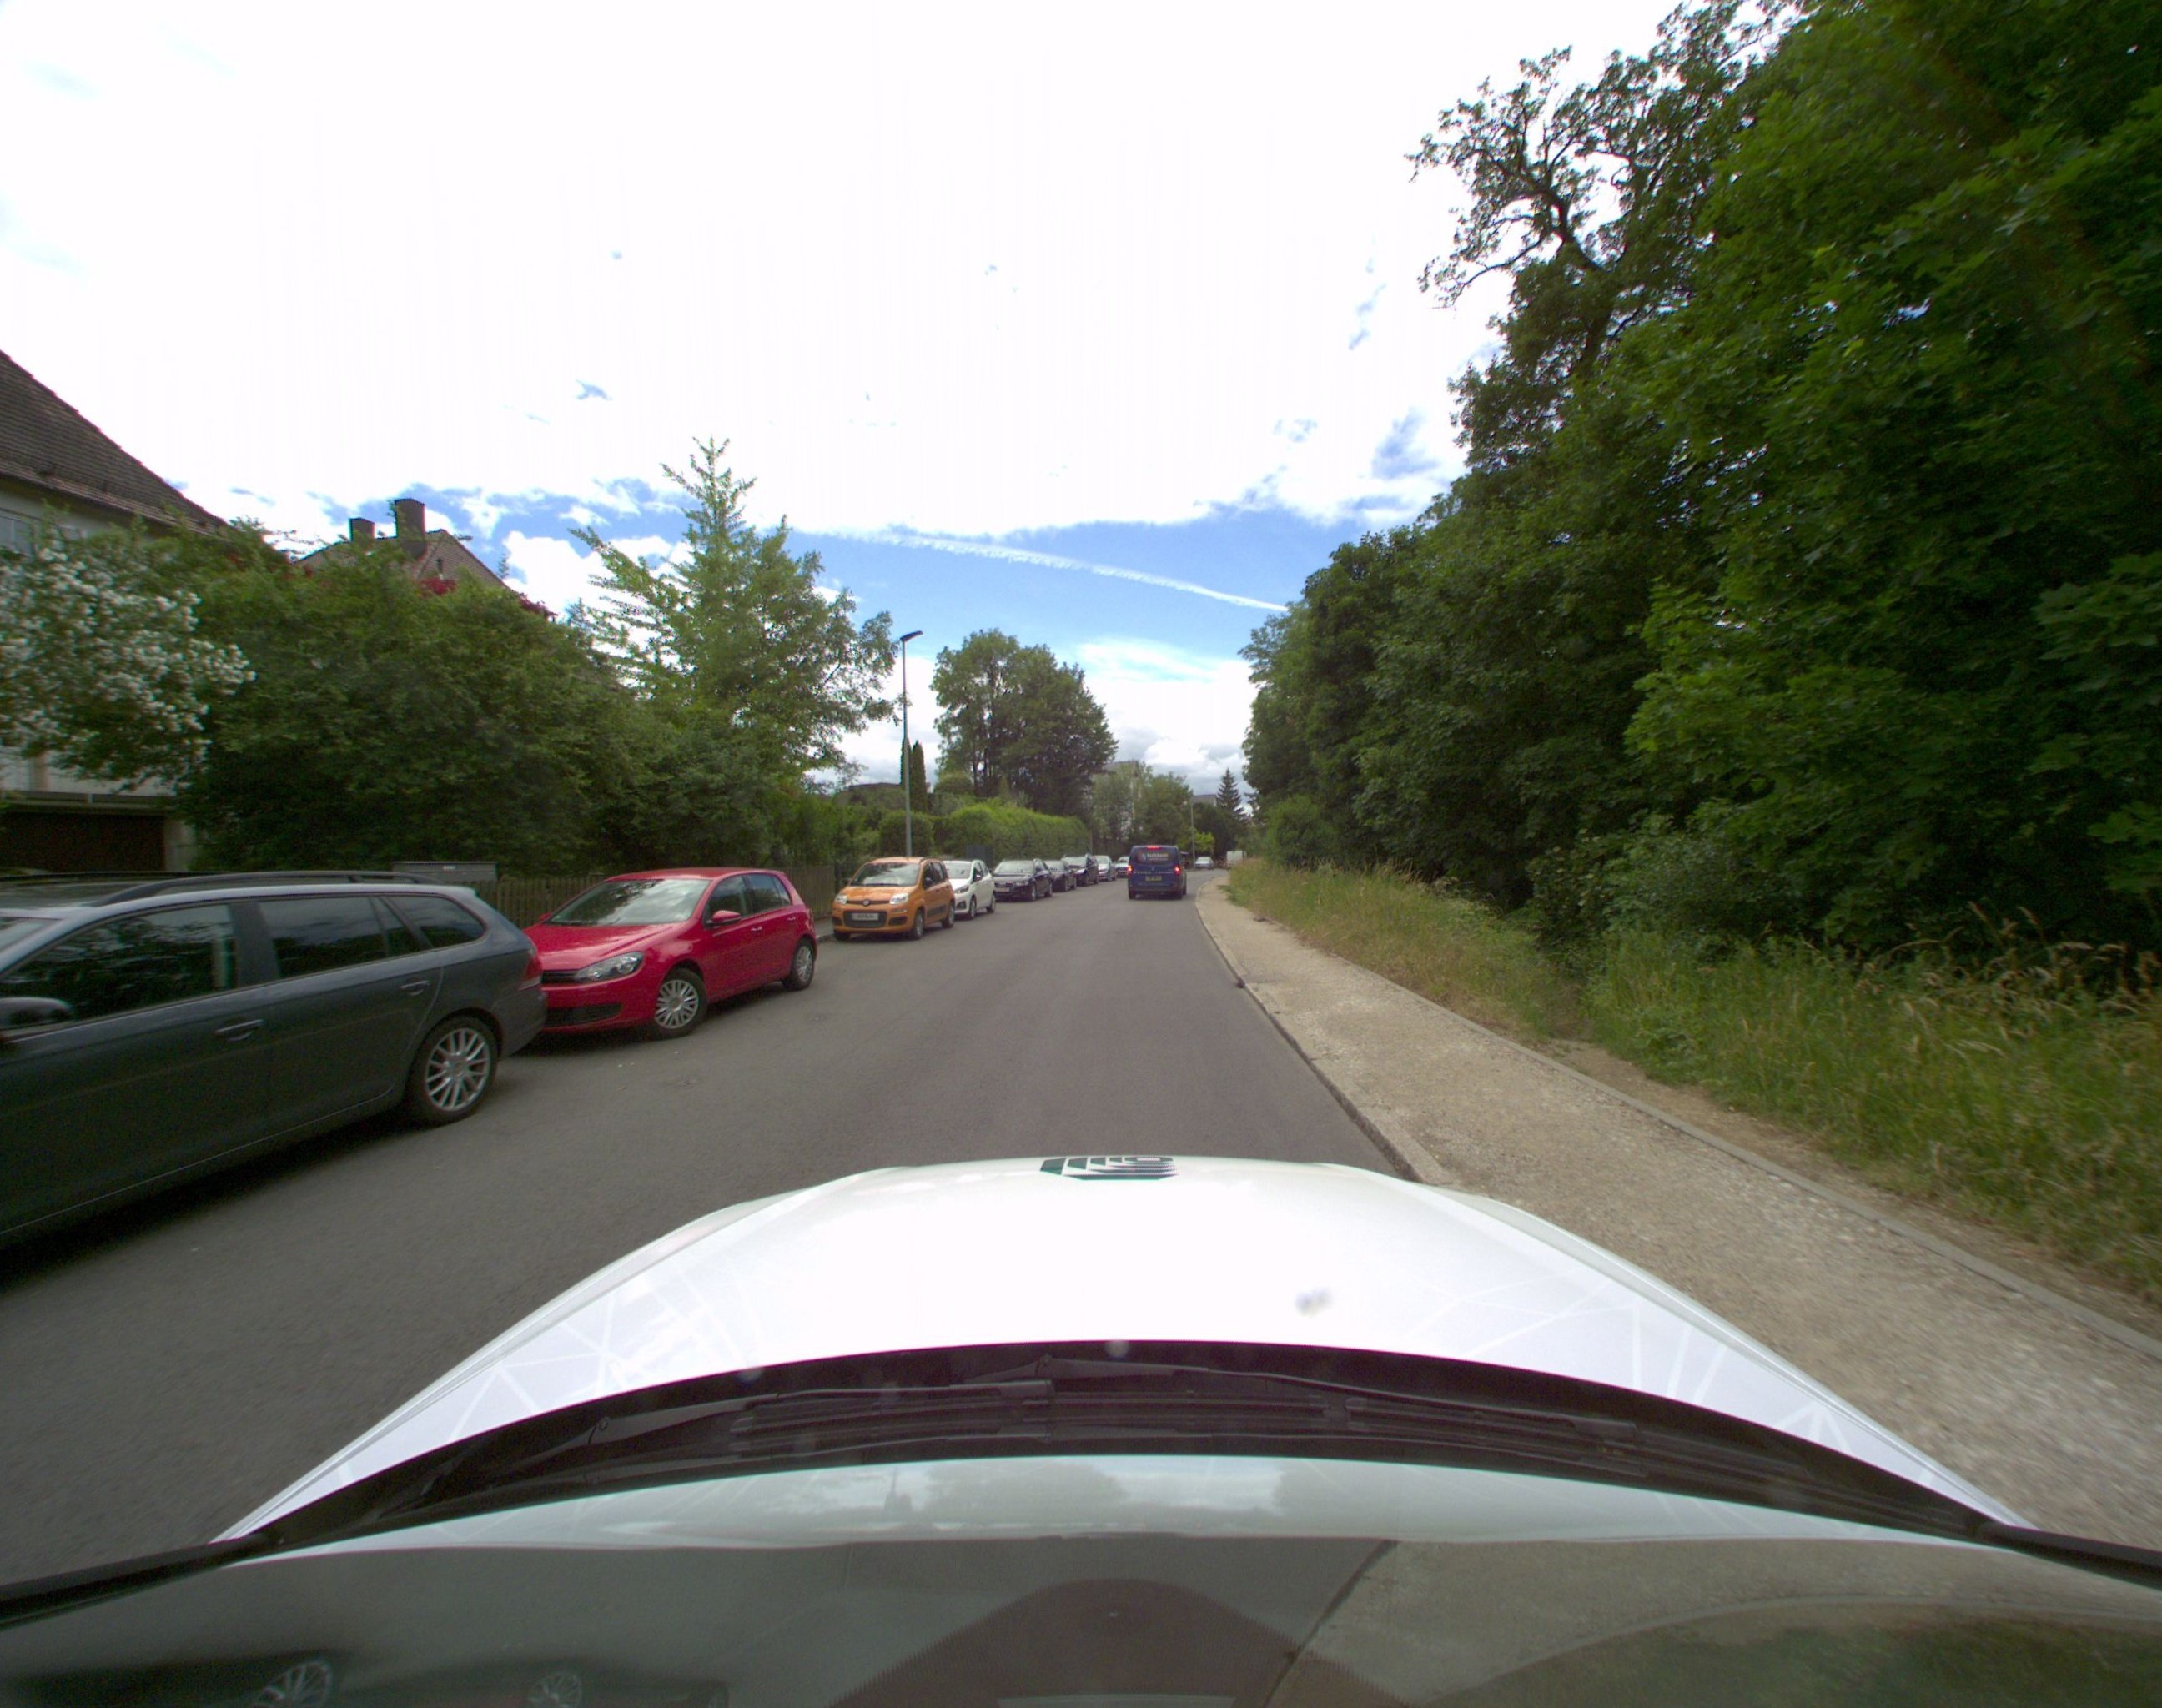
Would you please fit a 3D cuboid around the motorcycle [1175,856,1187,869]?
[{"bbox_3d":[11.622,1.007,94.382,0.803,1.485,2.910,-1,-1,20],"label":"motorcycle"}]

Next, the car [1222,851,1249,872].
[{"bbox_3d":[16.019,0.730,84.293,2.189,2.064,6.160,-1,-1,16],"label":"car"}]

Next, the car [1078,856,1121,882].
[{"bbox_3d":[1.077,0.817,45.854,1.764,1.374,4.353,0,0,10],"label":"car"}]

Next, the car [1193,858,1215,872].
[{"bbox_3d":[13.697,1.243,90.550,1.692,1.468,4.094,0,-1,18],"label":"car"}]

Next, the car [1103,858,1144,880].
[{"bbox_3d":[2.827,0.946,53.695,1.818,1.374,4.463,0,0,15],"label":"car"}]

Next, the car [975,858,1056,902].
[{"bbox_3d":[-2.159,0.859,28.330,1.708,1.385,4.675,-1,0,9],"label":"car"}]

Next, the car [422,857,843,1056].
[{"bbox_3d":[-4.115,0.805,8.466,1.699,1.514,4.368,-1,0,4],"label":"car"}]

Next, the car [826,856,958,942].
[{"bbox_3d":[-3.640,0.806,16.292,1.536,1.514,3.648,-1,0,4],"label":"car"}]

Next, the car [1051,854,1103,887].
[{"bbox_3d":[-0.127,0.773,40.447,1.645,1.533,4.489,0,0,12],"label":"car"}]

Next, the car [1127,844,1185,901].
[{"bbox_3d":[2.806,0.631,29.715,1.926,1.880,4.539,-1,0,7],"label":"car"}]

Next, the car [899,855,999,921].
[{"bbox_3d":[-3.243,0.800,20.699,1.580,1.514,3.596,-1,0,6],"label":"car"}]

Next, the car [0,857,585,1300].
[{"bbox_3d":[-4.515,0.779,3.633,1.700,1.514,4.498,-1,0,2],"label":"car"}]

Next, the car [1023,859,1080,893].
[{"bbox_3d":[-1.197,0.881,34.790,1.701,1.341,4.117,0,0,8],"label":"car"}]
